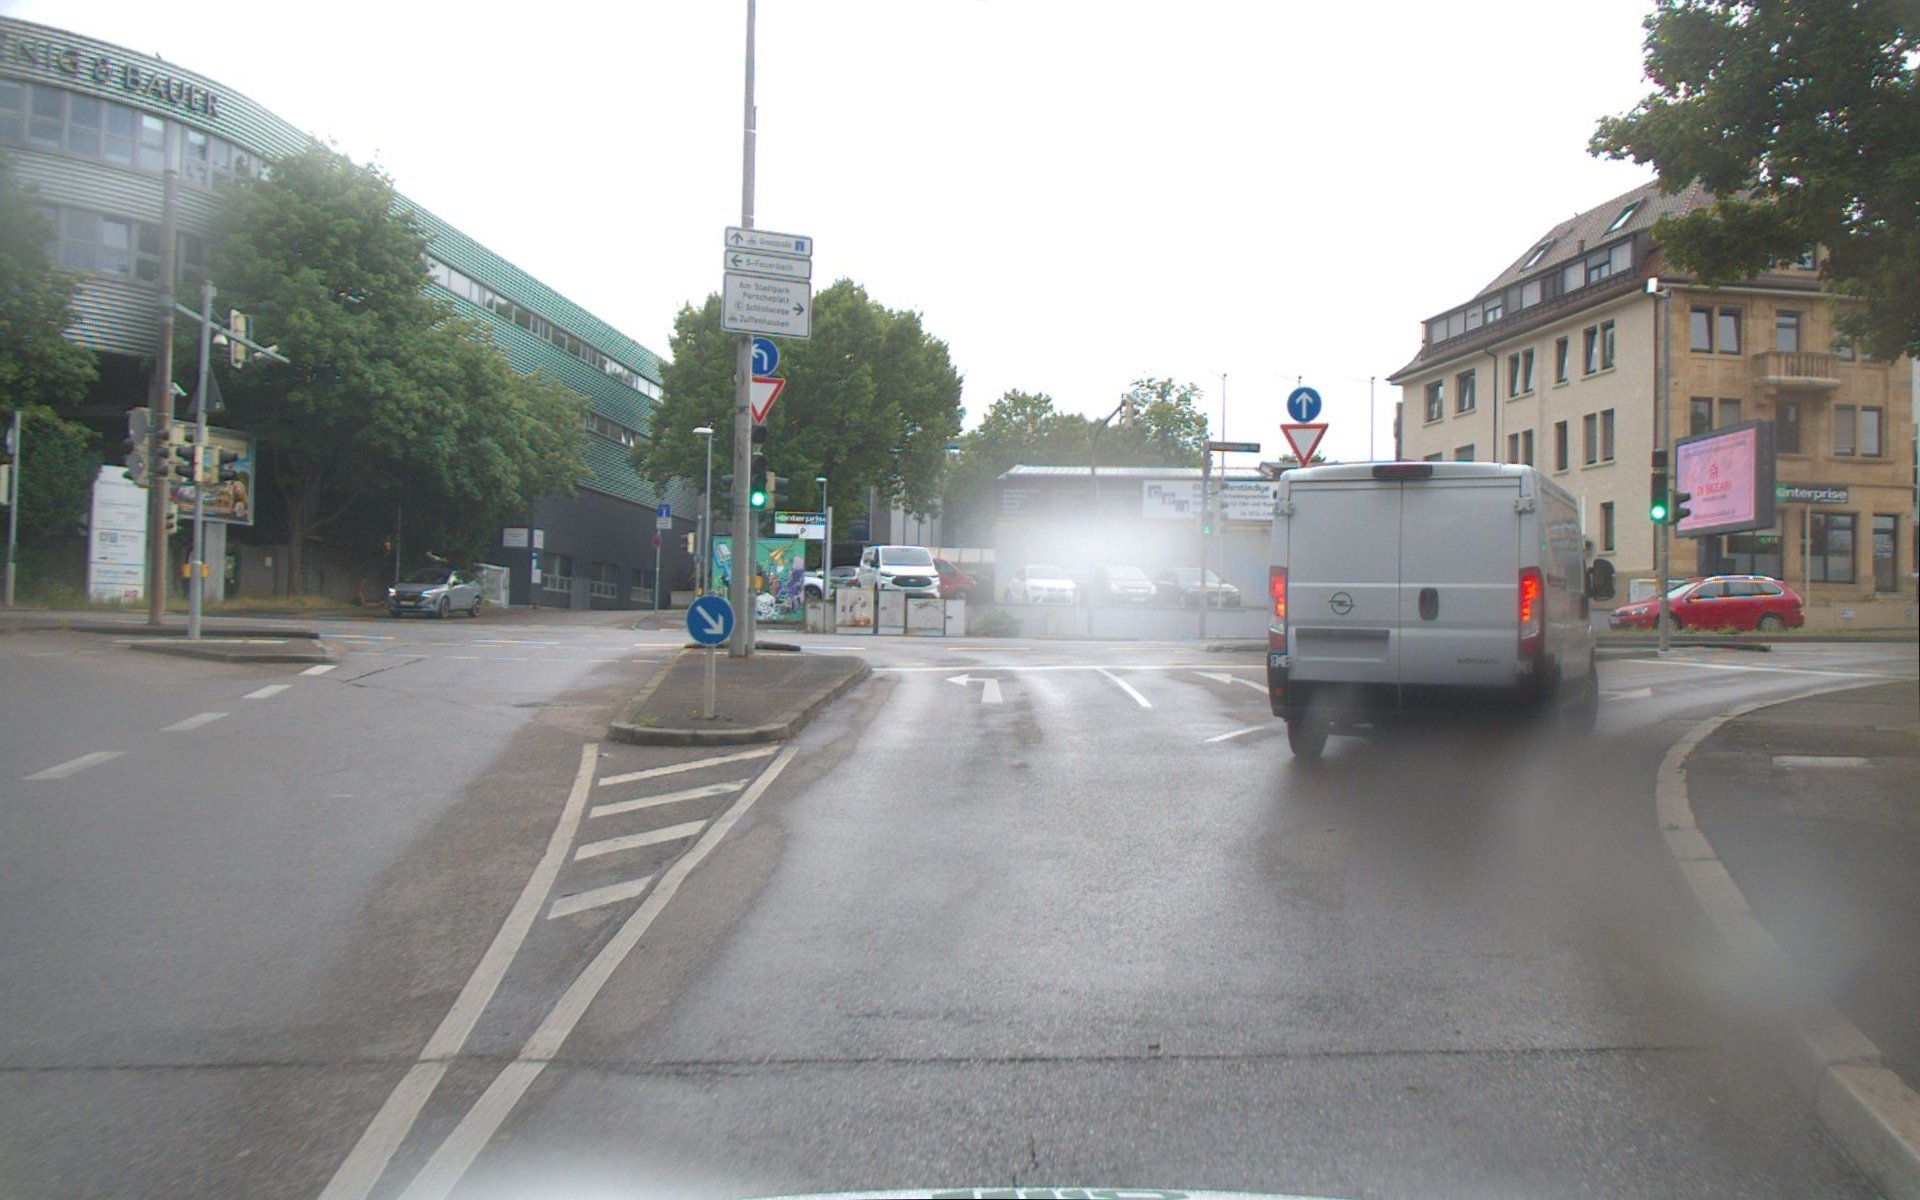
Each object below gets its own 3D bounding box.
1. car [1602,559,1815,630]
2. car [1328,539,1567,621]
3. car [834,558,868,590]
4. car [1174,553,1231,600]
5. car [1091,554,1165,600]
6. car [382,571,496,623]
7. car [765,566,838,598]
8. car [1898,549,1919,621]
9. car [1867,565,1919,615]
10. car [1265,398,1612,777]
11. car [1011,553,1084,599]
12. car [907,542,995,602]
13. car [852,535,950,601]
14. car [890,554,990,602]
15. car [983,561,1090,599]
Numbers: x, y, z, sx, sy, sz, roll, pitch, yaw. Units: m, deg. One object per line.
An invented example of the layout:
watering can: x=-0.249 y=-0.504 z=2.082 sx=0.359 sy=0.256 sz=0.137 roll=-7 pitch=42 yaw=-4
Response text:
car: x=17.855 y=-0.106 z=39.568 sx=4.341 sy=1.558 sz=1.810 roll=1 pitch=-2 yaw=-6
car: x=11.473 y=-0.447 z=39.083 sx=5.052 sy=1.850 sz=1.938 roll=0 pitch=-2 yaw=-5
car: x=-4.888 y=-1.163 z=74.094 sx=1.183 sy=1.326 sz=2.339 roll=1 pitch=-2 yaw=4
car: x=7.721 y=-0.753 z=52.821 sx=1.200 sy=1.449 sz=2.684 roll=1 pitch=1 yaw=-5
car: x=5.292 y=-0.741 z=52.484 sx=1.702 sy=1.392 sz=3.620 roll=1 pitch=1 yaw=-5
car: x=-17.347 y=-0.139 z=55.299 sx=1.985 sy=1.627 sz=4.385 roll=1 pitch=1 yaw=7
car: x=-6.026 y=-0.680 z=62.966 sx=2.664 sy=1.124 sz=1.194 roll=1 pitch=-2 yaw=-11
car: x=25.477 y=-0.390 z=39.999 sx=4.520 sy=1.727 sz=1.959 roll=-1 pitch=-2 yaw=-5
car: x=35.088 y=-0.349 z=60.671 sx=1.679 sy=1.705 sz=3.045 roll=1 pitch=-2 yaw=-10
car: x=4.187 y=-0.189 z=13.837 sx=2.009 sy=2.560 sz=4.941 roll=2 pitch=3 yaw=25
car: x=2.773 y=-0.788 z=53.254 sx=1.830 sy=1.392 sz=3.620 roll=1 pitch=1 yaw=-5
car: x=-0.389 y=-1.250 z=74.529 sx=3.892 sy=2.542 sz=1.654 roll=1 pitch=-2 yaw=1
car: x=-1.941 y=-0.974 z=52.893 sx=2.174 sy=1.833 sz=5.354 roll=2 pitch=-2 yaw=-12
car: x=-0.844 y=-0.943 z=71.159 sx=4.208 sy=1.893 sz=1.741 roll=1 pitch=-2 yaw=1
car: x=3.110 y=-0.804 z=66.790 sx=4.235 sy=1.431 sz=1.374 roll=-1 pitch=-2 yaw=5
